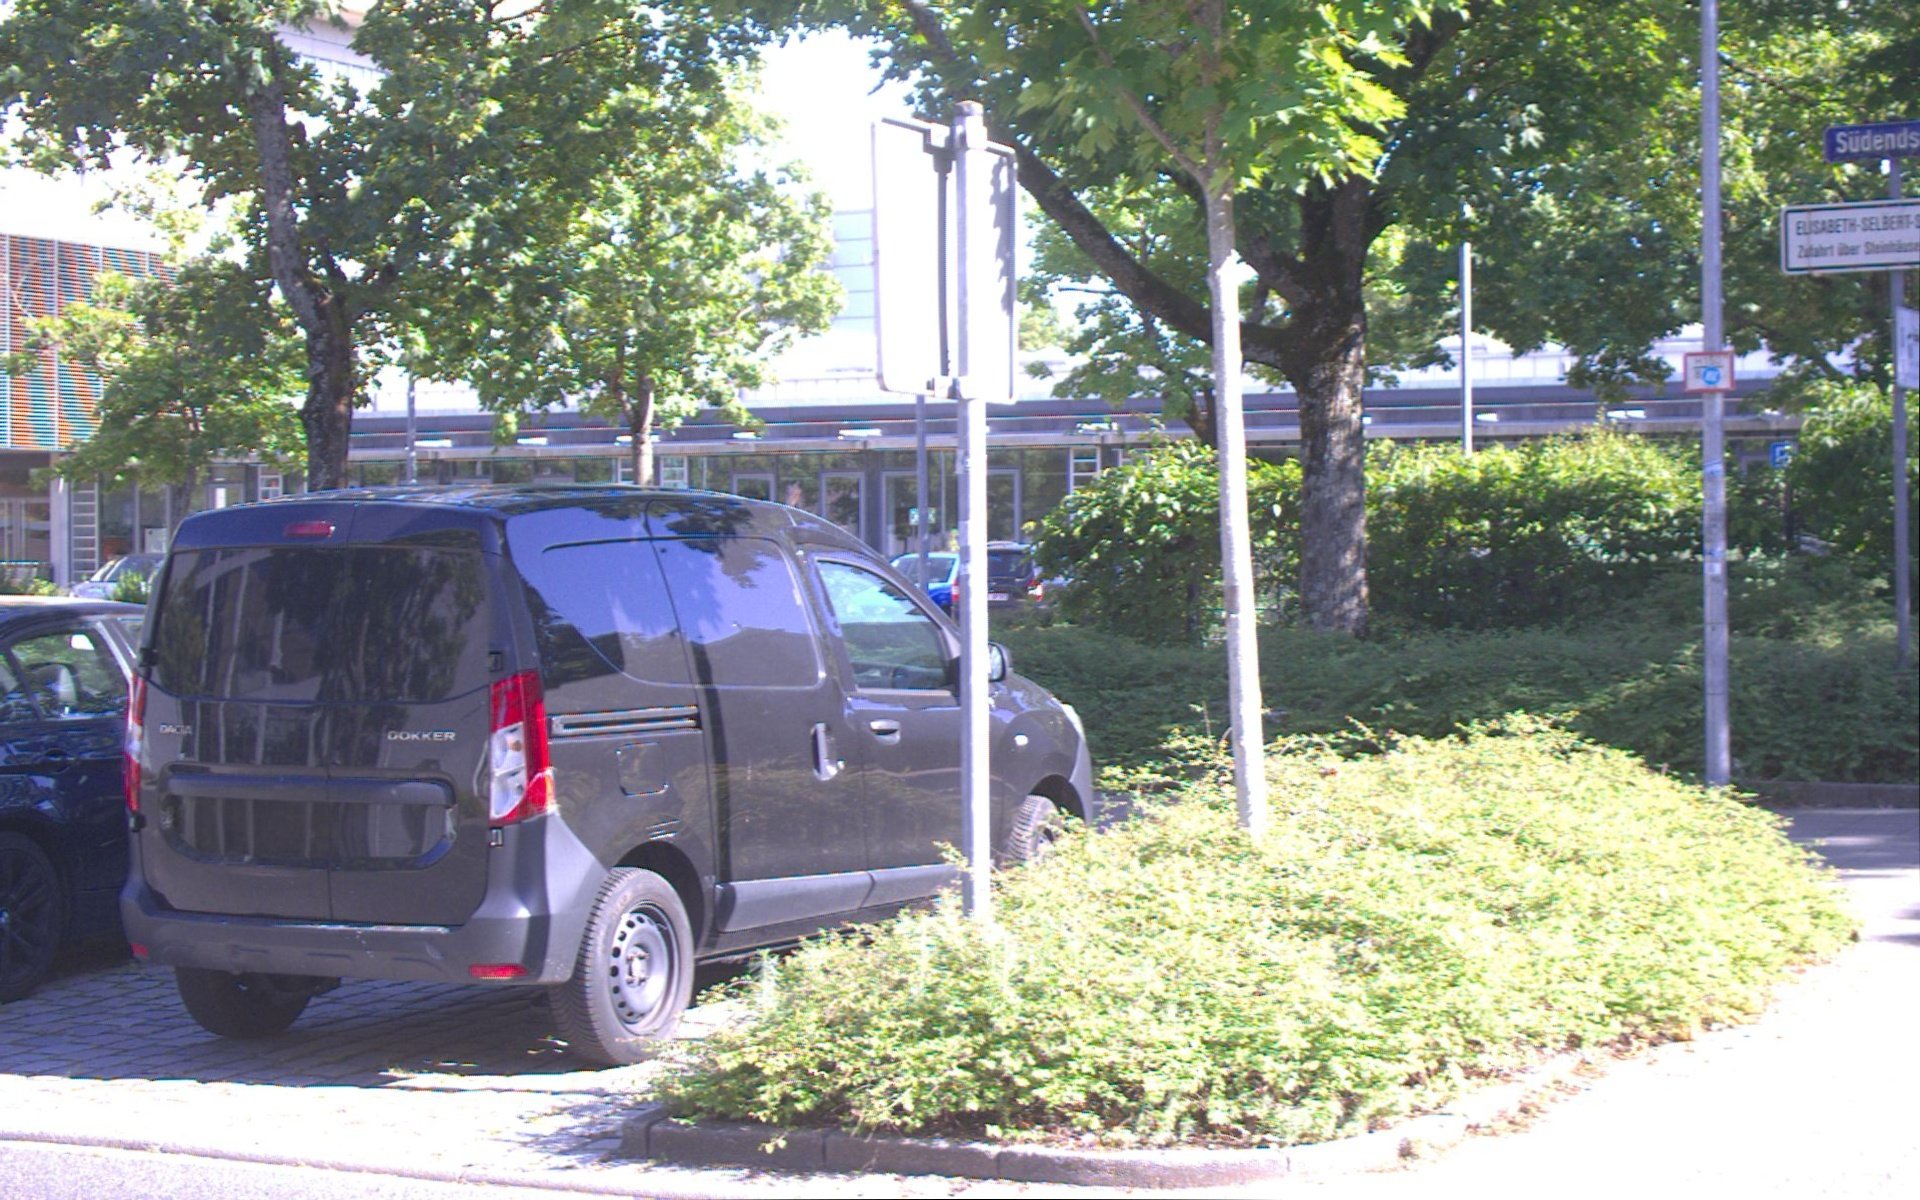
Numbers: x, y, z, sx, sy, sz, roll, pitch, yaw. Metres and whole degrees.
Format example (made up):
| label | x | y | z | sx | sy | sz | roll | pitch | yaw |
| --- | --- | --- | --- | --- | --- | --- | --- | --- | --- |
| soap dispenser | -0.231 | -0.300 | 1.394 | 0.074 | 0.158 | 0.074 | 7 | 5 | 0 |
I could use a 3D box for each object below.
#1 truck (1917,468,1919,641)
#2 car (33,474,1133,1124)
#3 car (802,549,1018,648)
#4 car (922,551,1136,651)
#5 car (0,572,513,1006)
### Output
| label | x | y | z | sx | sy | sz | roll | pitch | yaw |
| --- | --- | --- | --- | --- | --- | --- | --- | --- | --- |
| truck | 16.026 | -1.370 | 49.492 | 2.807 | 3.793 | 6.913 | 1 | 2 | 28 |
| car | -1.101 | 0.509 | 12.174 | 1.876 | 1.840 | 4.163 | 0 | 2 | 27 |
| car | -0.784 | -0.052 | 56.169 | 1.839 | 1.492 | 3.902 | 0 | 2 | 29 |
| car | 1.153 | -0.008 | 55.296 | 1.839 | 1.492 | 3.902 | 0 | 2 | 29 |
| car | -3.661 | 0.667 | 13.451 | 1.825 | 1.401 | 4.163 | 0 | 2 | 25 |
